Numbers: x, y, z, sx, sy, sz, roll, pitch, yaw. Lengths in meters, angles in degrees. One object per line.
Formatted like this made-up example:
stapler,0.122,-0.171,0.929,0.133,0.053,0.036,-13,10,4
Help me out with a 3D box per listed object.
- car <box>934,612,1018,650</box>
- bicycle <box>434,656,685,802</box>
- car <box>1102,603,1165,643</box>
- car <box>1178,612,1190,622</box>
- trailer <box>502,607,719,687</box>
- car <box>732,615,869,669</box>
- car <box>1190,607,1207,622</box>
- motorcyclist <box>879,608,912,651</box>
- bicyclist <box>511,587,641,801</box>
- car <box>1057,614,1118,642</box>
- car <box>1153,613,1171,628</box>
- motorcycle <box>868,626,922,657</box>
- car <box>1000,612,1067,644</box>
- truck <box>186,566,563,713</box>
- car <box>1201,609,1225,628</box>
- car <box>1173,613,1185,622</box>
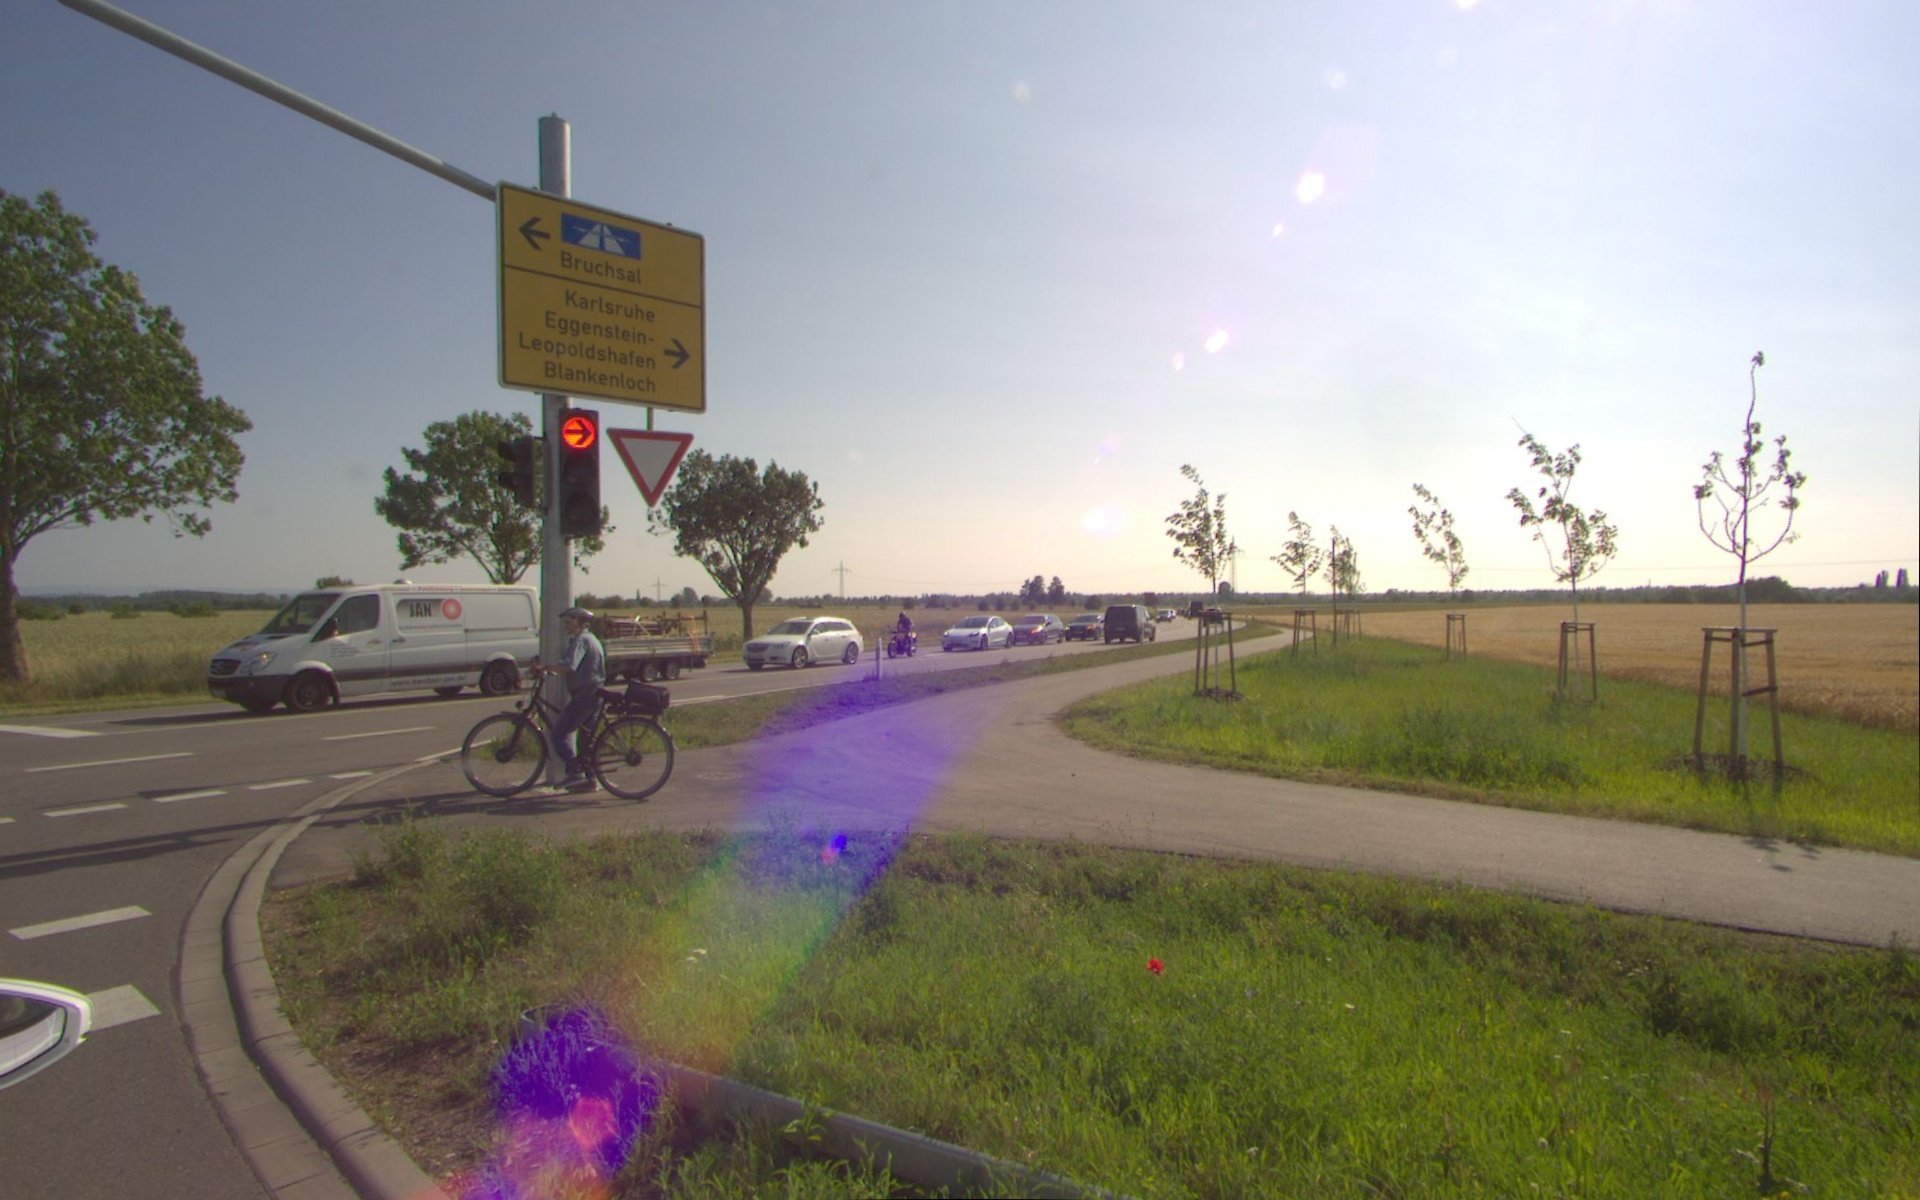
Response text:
car,0.738,1.313,42.858,1.867,1.485,4.259,-3,-2,28
bicycle,-3.436,1.120,8.767,1.910,1.165,0.681,3,-2,-13
car,8.577,1.121,49.297,1.817,1.857,4.451,0,-1,27
car,41.073,3.089,183.559,1.899,1.822,3.886,0,-2,8
trailer,-8.386,1.076,24.563,1.951,1.760,4.991,-1,-1,29
car,-4.812,1.244,30.941,1.738,1.511,4.689,-1,-1,28
car,34.222,2.074,143.495,2.022,2.039,4.001,0,-2,8
motorcyclist,-2.325,1.065,36.439,0.670,1.535,1.176,-1,0,27
bicyclist,-3.351,0.820,8.811,0.901,1.787,0.619,3,-2,-13
car,7.135,1.527,55.602,1.866,1.455,4.779,-1,-1,27
car,24.850,2.517,122.876,1.856,1.646,3.996,-3,-2,15
motorcycle,-2.337,1.498,36.428,0.885,1.057,2.419,-1,0,26
car,3.649,1.349,49.129,1.866,1.480,4.292,-1,-1,25
truck,-11.122,0.697,19.702,2.041,2.436,6.168,-1,-1,31
car,22.749,1.643,89.883,1.943,1.703,4.101,-1,-1,17
car,44.428,3.553,203.296,1.899,1.715,3.887,0,-2,8
